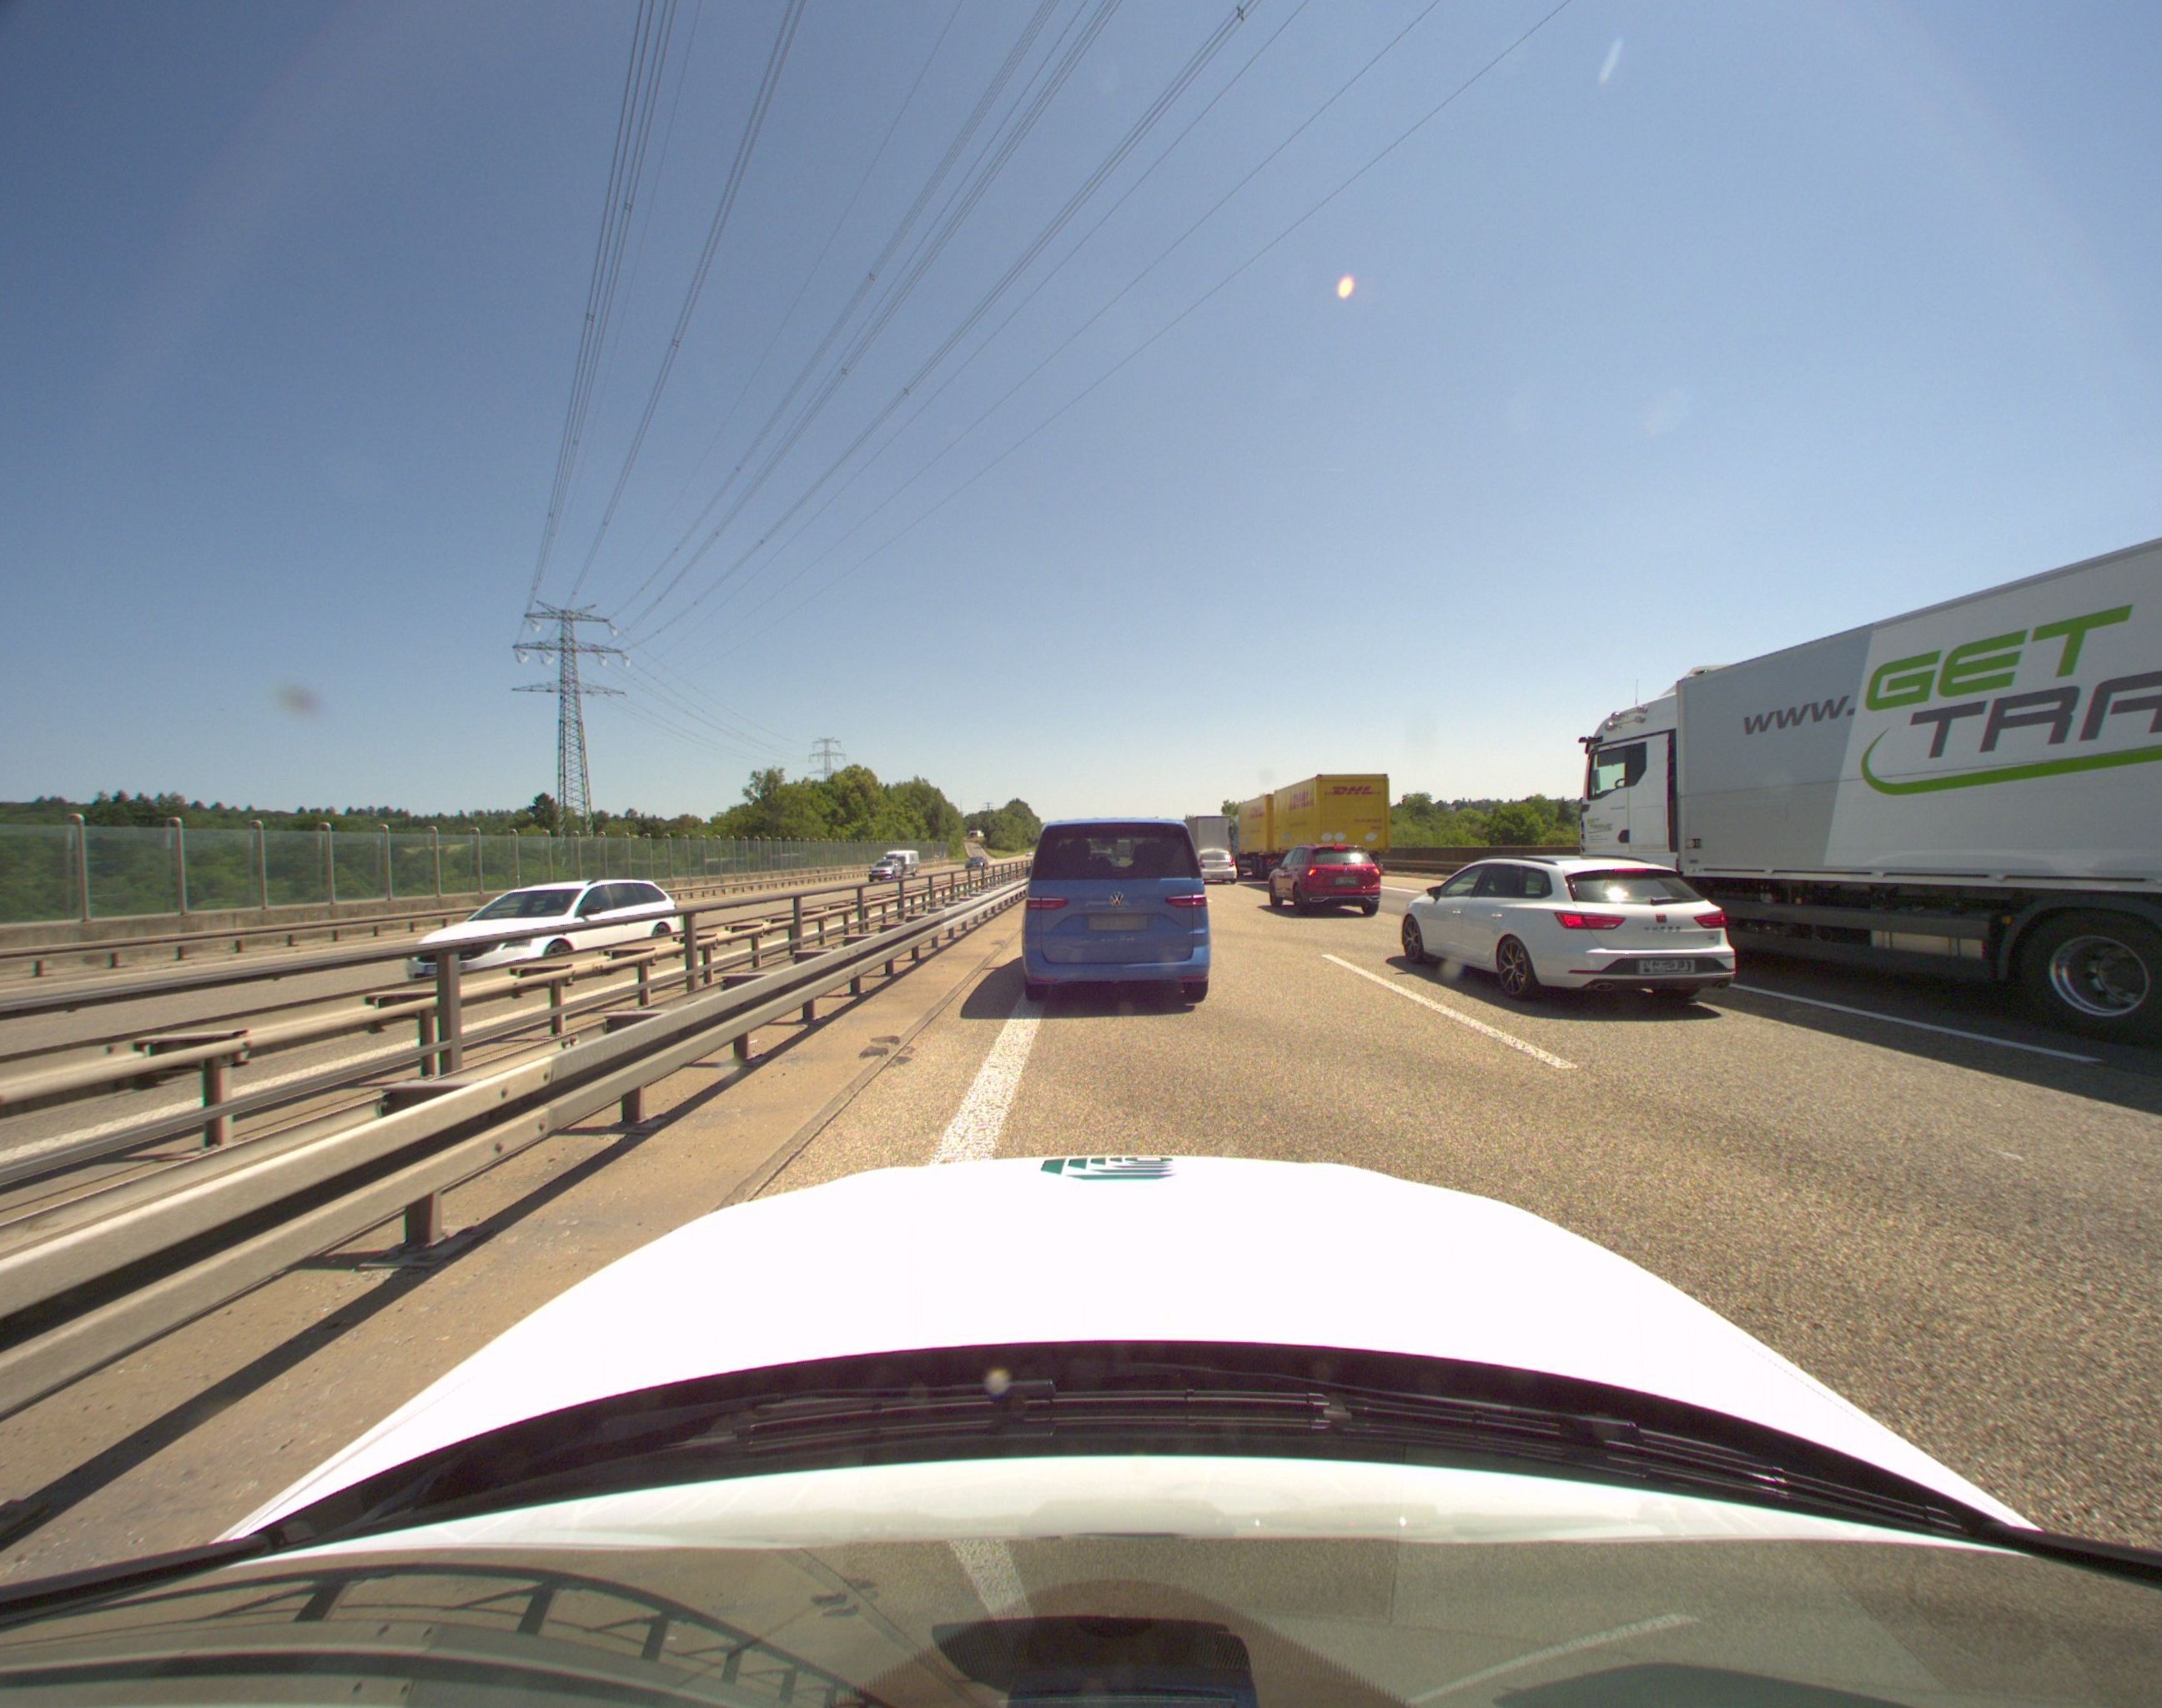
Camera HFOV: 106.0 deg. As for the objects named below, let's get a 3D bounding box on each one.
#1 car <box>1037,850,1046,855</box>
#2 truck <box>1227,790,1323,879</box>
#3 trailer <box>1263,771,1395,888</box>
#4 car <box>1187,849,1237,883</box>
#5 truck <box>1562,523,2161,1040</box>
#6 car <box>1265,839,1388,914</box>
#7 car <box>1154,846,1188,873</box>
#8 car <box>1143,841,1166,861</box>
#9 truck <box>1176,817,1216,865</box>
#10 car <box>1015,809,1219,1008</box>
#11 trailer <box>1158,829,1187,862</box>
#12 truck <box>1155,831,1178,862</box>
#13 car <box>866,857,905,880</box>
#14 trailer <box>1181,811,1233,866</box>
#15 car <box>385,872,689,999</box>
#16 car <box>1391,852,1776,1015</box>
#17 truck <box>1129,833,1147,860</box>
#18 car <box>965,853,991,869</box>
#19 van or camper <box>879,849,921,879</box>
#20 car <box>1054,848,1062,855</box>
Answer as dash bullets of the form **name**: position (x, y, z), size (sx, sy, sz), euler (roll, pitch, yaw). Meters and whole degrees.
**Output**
- **car**: position (-9.709, -0.374, 201.034), size (1.794, 1.386, 4.264), euler (0, 0, 1)
- **truck**: position (9.781, -0.870, 42.253), size (2.712, 4.054, 10.338), euler (0, 0, 1)
- **trailer**: position (9.573, -0.834, 32.605), size (2.692, 4.023, 8.932), euler (0, 0, 1)
- **car**: position (5.804, 0.493, 36.444), size (1.830, 1.414, 4.004), euler (-1, 0, 3)
- **truck**: position (8.977, -0.511, 7.498), size (2.841, 3.602, 10.769), euler (0, 0, 1)
- **car**: position (5.809, 0.486, 19.747), size (1.844, 1.608, 4.001), euler (-1, 0, 1)
- **car**: position (5.535, 0.353, 50.471), size (1.709, 1.587, 3.822), euler (-1, -1, 1)
- **car**: position (6.366, -0.236, 70.944), size (1.709, 1.540, 3.821), euler (-1, -2, 1)
- **truck**: position (10.349, -1.133, 73.870), size (2.758, 4.095, 6.985), euler (0, 0, 1)
- **car**: position (0.390, 0.502, 9.632), size (1.875, 1.837, 4.001), euler (-1, 0, 1)
- **trailer**: position (10.741, -0.942, 96.945), size (2.371, 3.744, 11.189), euler (0, 0, 1)
- **truck**: position (10.796, -0.918, 103.089), size (2.359, 3.722, 6.034), euler (0, 0, 1)
- **car**: position (-14.846, 1.060, 62.021), size (1.850, 1.545, 4.201), euler (-4, 0, 1)
- **trailer**: position (10.204, -1.159, 66.972), size (2.745, 4.146, 11.314), euler (0, 0, 1)
- **car**: position (-8.115, 1.109, 12.748), size (1.751, 1.449, 4.287), euler (-3, 0, 1)
- **car**: position (5.173, 0.683, 9.181), size (1.775, 1.387, 4.188), euler (-1, 0, 0)
- **truck**: position (11.295, -1.423, 162.309), size (2.824, 5.040, 11.144), euler (0, 0, 0)
- **car**: position (-10.206, 0.696, 80.916), size (1.849, 1.397, 4.677), euler (-3, 0, 2)
- **van or camper**: position (-14.833, 0.826, 66.920), size (1.987, 2.211, 5.537), euler (-4, 0, 1)
- **car**: position (-5.921, -0.628, 208.726), size (1.834, 1.529, 3.559), euler (-3, 0, 1)
